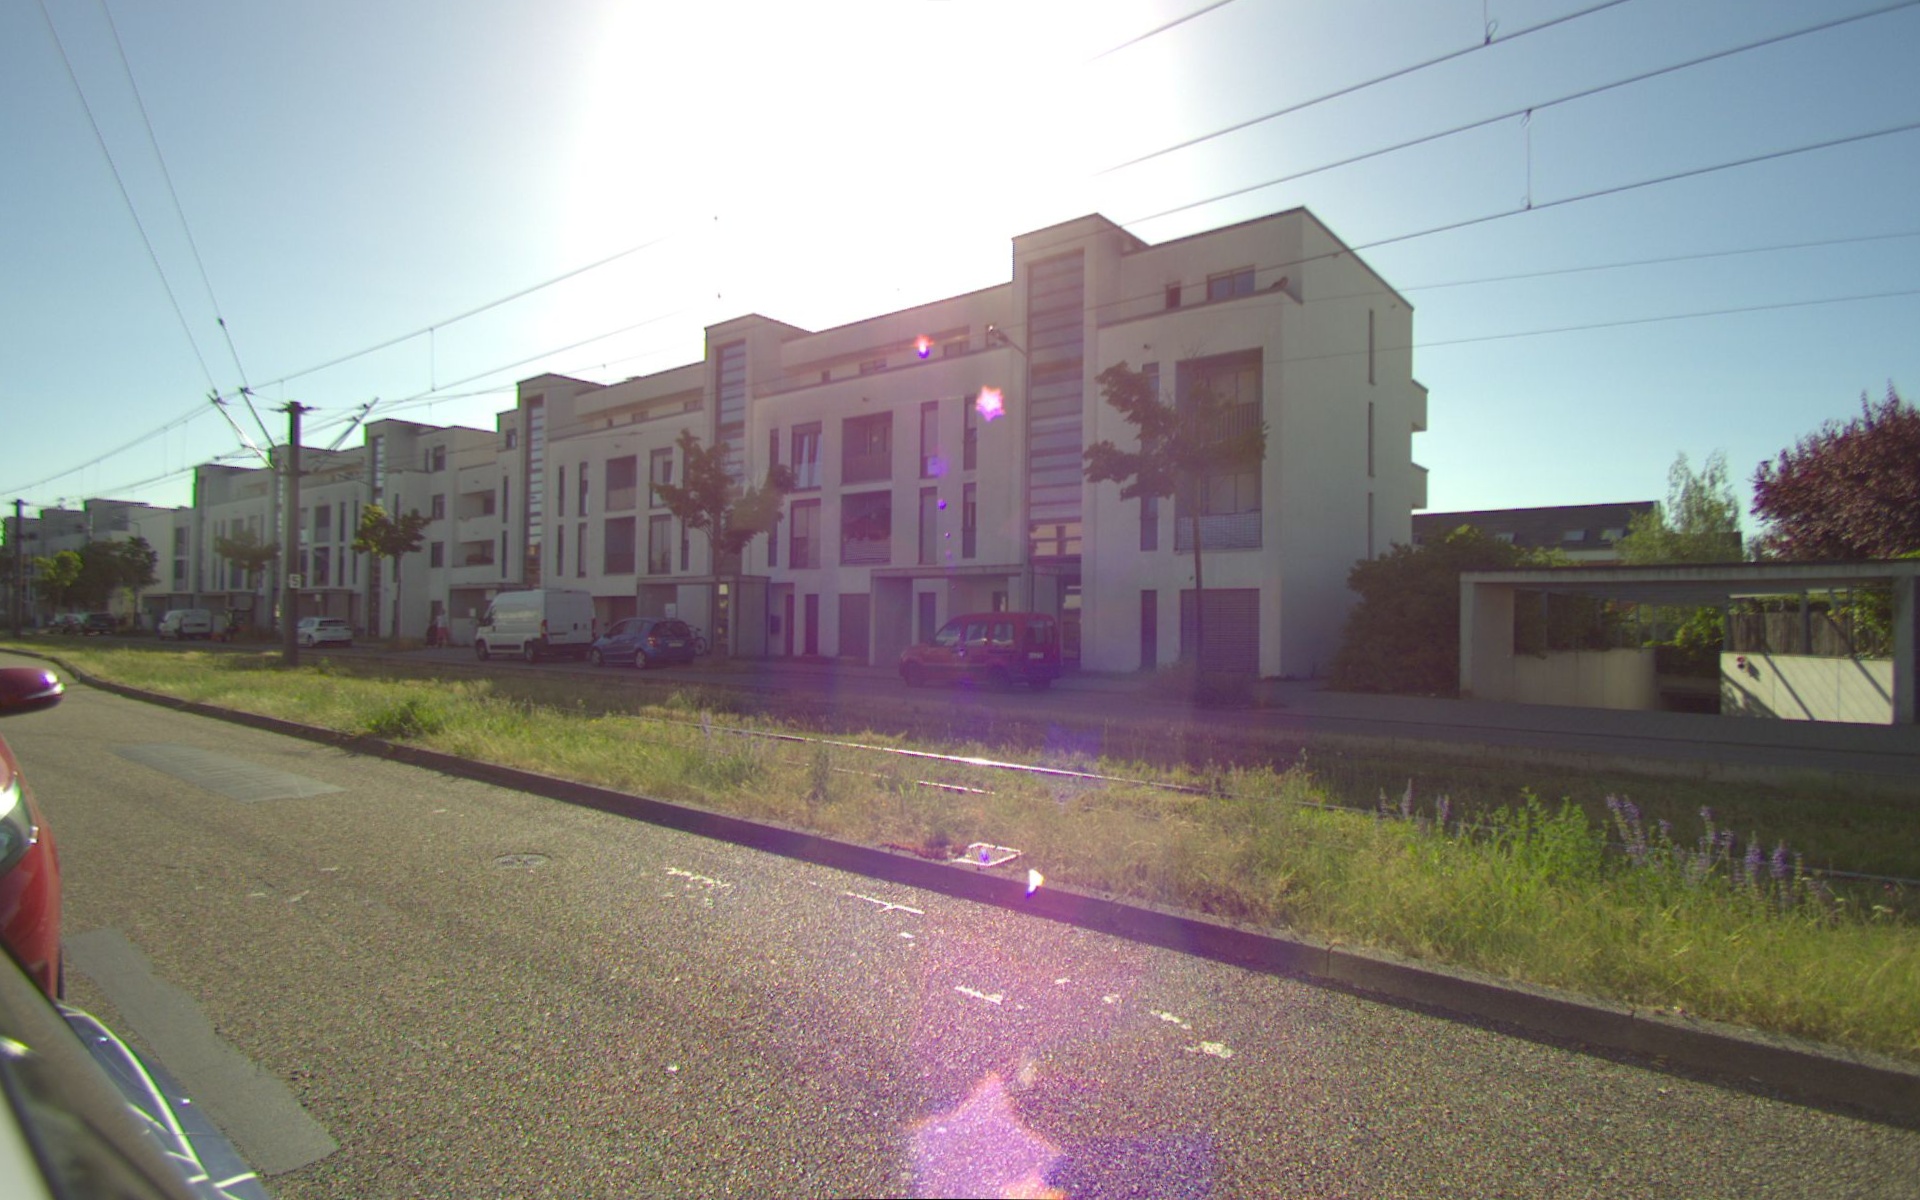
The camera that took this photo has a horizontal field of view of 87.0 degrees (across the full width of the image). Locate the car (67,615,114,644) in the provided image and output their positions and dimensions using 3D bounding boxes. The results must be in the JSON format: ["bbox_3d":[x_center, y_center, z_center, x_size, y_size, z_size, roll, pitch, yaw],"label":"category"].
[{"bbox_3d":[-63.017,2.085,73.333,3.993,2.029,1.766,-1,0,37],"label":"car"}]

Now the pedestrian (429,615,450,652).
[{"bbox_3d":[-23.316,1.488,45.349,0.611,1.656,0.612,-1,0,33],"label":"pedestrian"}]

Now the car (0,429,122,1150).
[{"bbox_3d":[-5.071,0.560,3.870,5.081,1.984,2.100,-1,0,41],"label":"car"}]

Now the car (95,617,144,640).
[{"bbox_3d":[-57.218,1.933,68.895,3.491,1.449,1.845,-1,-1,37],"label":"car"}]

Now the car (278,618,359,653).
[{"bbox_3d":[-31.069,1.699,49.005,4.115,1.598,2.022,-1,-2,38],"label":"car"}]

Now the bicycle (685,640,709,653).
[{"bbox_3d":[-10.585,1.859,40.739,1.060,0.502,0.349,-1,-3,40],"label":"bicycle"}]

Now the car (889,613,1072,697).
[{"bbox_3d":[0.405,1.188,22.945,3.907,1.736,1.770,-1,-3,42],"label":"car"}]

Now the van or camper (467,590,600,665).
[{"bbox_3d":[-15.197,0.979,35.949,5.256,2.483,2.170,-1,-2,40],"label":"van or camper"}]

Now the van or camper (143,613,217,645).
[{"bbox_3d":[-47.995,1.748,62.248,6.279,1.862,2.244,-1,-1,39],"label":"van or camper"}]

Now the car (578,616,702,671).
[{"bbox_3d":[-10.020,1.329,31.607,3.833,1.625,1.910,-1,-2,40],"label":"car"}]
